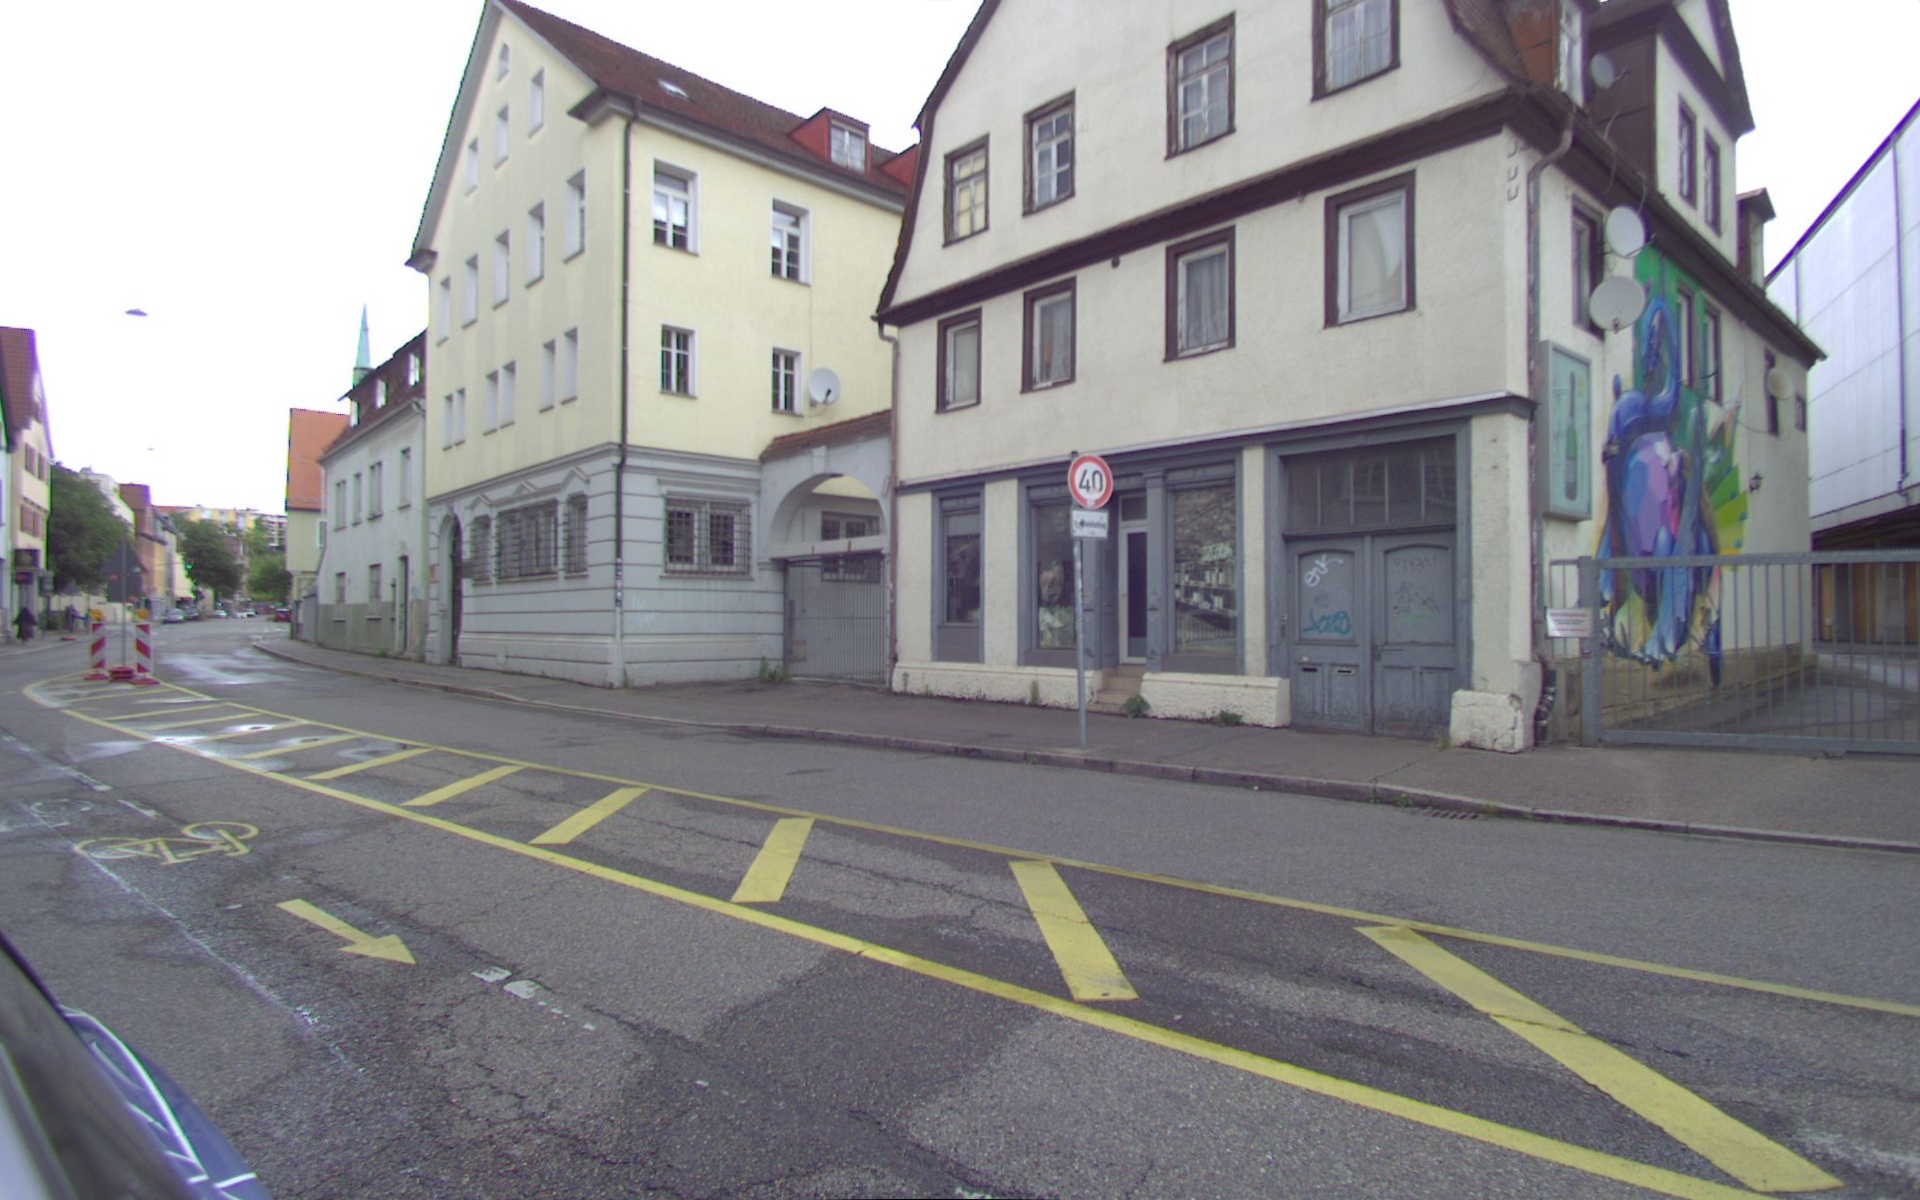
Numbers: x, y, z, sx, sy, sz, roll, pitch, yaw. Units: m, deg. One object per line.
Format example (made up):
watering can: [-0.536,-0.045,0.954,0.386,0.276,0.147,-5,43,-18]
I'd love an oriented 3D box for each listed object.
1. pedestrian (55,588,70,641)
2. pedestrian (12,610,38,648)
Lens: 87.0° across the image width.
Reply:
pedestrian: [-43.727,0.722,49.321,0.487,2.547,0.747,1,-2,-38]
pedestrian: [-40.117,1.255,43.417,0.714,1.626,0.650,2,-3,-38]
